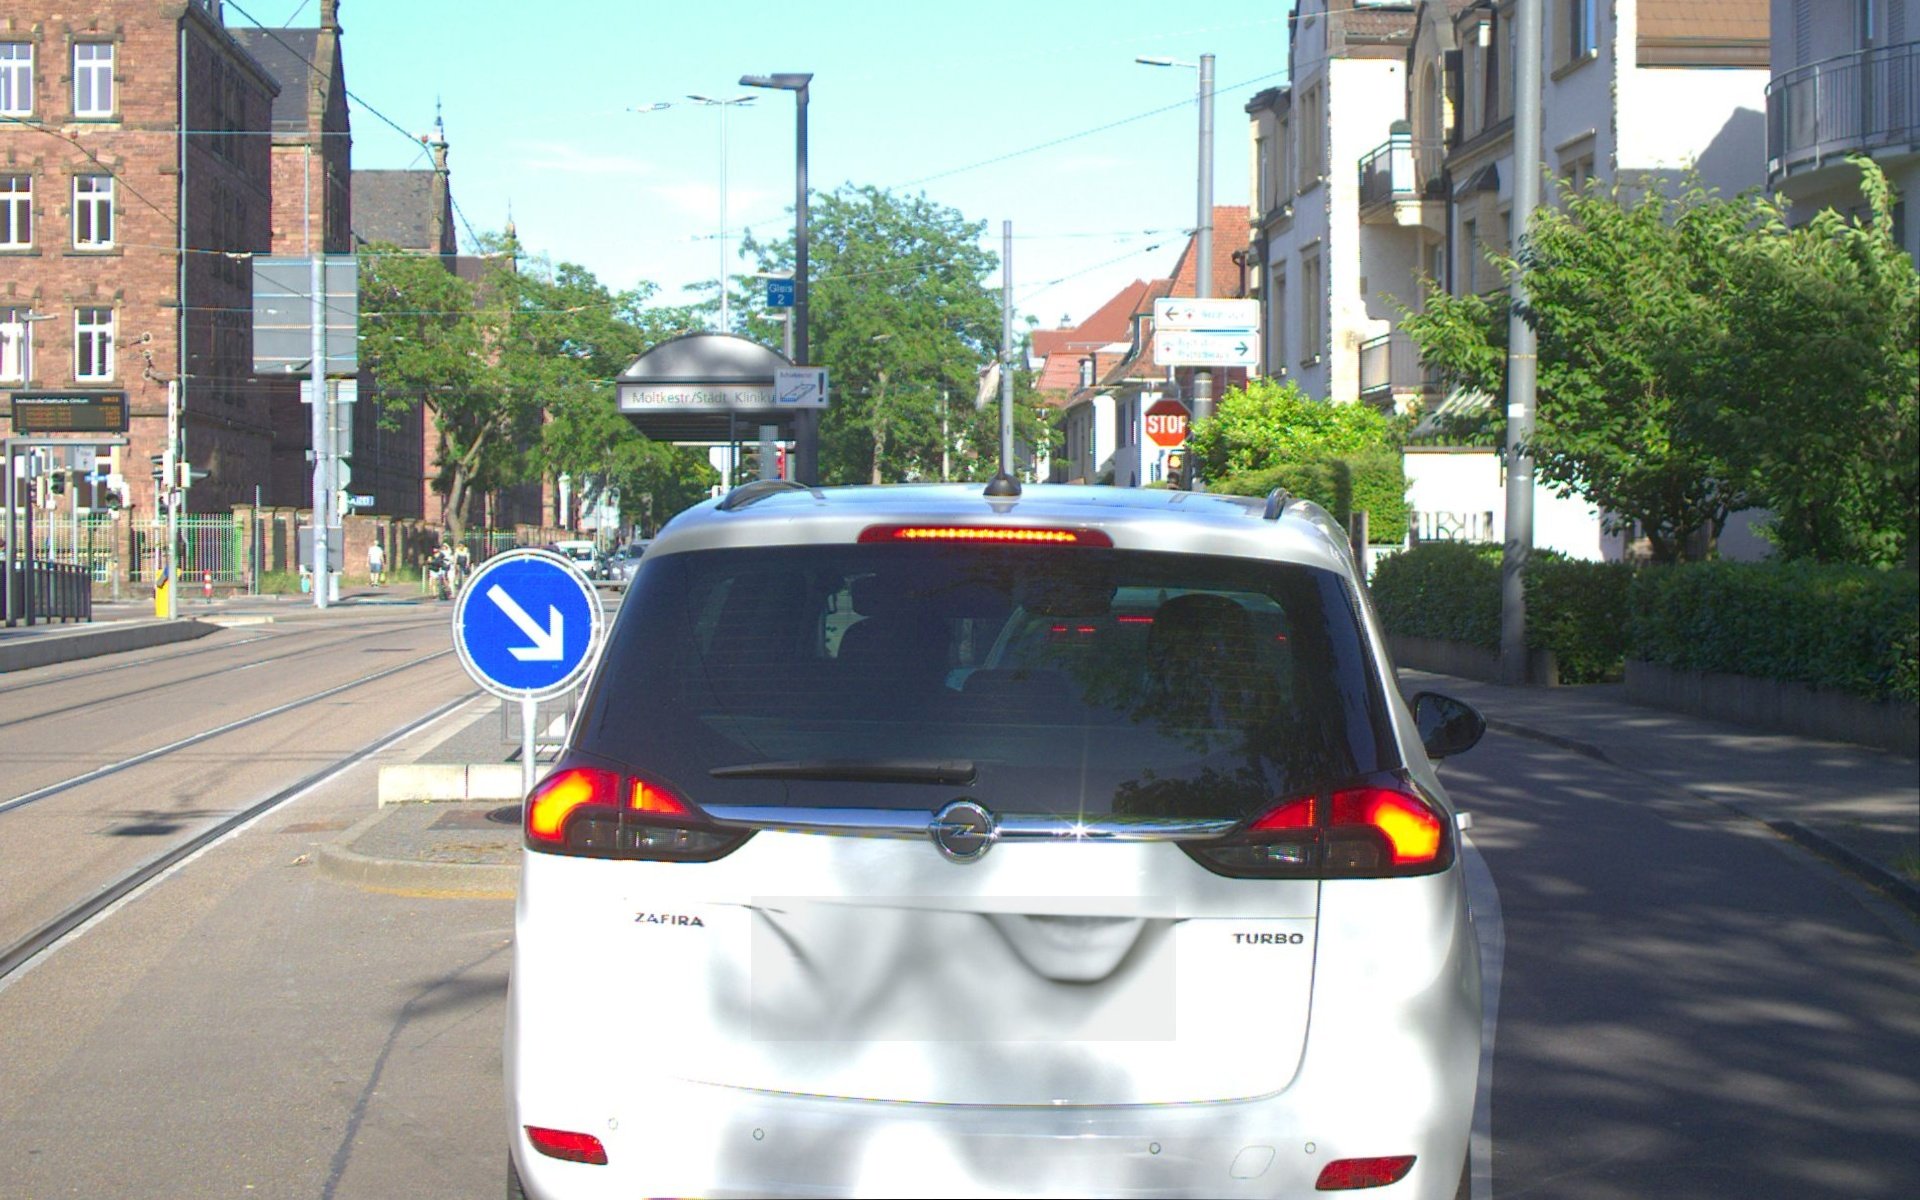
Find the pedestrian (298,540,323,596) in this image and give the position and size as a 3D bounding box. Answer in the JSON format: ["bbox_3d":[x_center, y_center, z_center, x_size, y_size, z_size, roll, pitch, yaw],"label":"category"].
[{"bbox_3d":[-19.829,-0.982,104.953,0.734,1.708,0.706,1,0,-9],"label":"pedestrian"}]

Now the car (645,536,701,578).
[{"bbox_3d":[-11.204,-1.676,134.347,1.993,1.623,4.001,0,1,-2],"label":"car"}]

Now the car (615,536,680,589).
[{"bbox_3d":[-9.740,-1.186,107.309,1.993,1.623,4.001,0,1,-5],"label":"car"}]

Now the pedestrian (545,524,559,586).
[{"bbox_3d":[-13.314,-1.468,112.246,0.444,2.007,0.496,0,1,-4],"label":"pedestrian"}]

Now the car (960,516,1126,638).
[{"bbox_3d":[1.017,-0.318,44.298,1.993,1.497,4.000,0,1,-1],"label":"car"}]

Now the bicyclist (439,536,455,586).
[{"bbox_3d":[-15.896,-1.217,106.564,0.444,1.548,0.496,0,1,-4],"label":"bicyclist"}]

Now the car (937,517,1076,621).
[{"bbox_3d":[0.663,-0.487,51.758,1.993,1.497,4.000,0,1,-1],"label":"car"}]

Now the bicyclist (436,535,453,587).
[{"bbox_3d":[-15.478,-1.180,103.282,0.444,1.548,0.743,0,1,-4],"label":"bicyclist"}]

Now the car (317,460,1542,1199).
[{"bbox_3d":[0.134,0.582,7.601,1.994,1.639,3.992,1,1,6],"label":"car"}]

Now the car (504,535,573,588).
[{"bbox_3d":[-13.120,-1.221,107.086,1.993,1.623,4.001,0,1,-5],"label":"car"}]

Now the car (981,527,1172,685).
[{"bbox_3d":[1.173,0.025,36.178,1.830,1.574,4.010,0,1,-1],"label":"car"}]

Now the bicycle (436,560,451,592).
[{"bbox_3d":[-15.486,-0.711,103.081,0.344,0.946,1.160,1,0,-4],"label":"bicycle"}]

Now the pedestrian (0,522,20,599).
[{"bbox_3d":[-21.065,-0.865,74.908,0.895,1.678,1.029,1,0,-1],"label":"pedestrian"}]

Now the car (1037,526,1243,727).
[{"bbox_3d":[1.491,0.179,29.254,1.637,1.595,3.854,0,1,2],"label":"car"}]

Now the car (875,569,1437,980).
[{"bbox_3d":[0.742,0.589,13.981,1.953,1.392,4.000,0,1,2],"label":"car"}]

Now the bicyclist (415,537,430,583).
[{"bbox_3d":[-17.985,-1.332,115.094,0.444,1.548,0.496,0,1,-4],"label":"bicyclist"}]

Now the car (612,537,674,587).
[{"bbox_3d":[-10.537,-1.268,114.415,1.993,1.623,4.001,0,1,-5],"label":"car"}]

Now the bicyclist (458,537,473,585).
[{"bbox_3d":[-15.692,-1.240,109.148,0.444,1.548,0.496,0,1,-4],"label":"bicyclist"}]

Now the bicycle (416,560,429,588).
[{"bbox_3d":[-17.990,-0.866,115.138,0.344,0.946,0.997,1,0,-4],"label":"bicycle"}]

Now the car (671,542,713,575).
[{"bbox_3d":[-13.093,-2.031,167.815,1.993,1.623,3.989,0,1,-5],"label":"car"}]

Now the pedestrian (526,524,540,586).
[{"bbox_3d":[-13.911,-1.473,111.964,0.444,2.007,0.496,0,1,-4],"label":"pedestrian"}]

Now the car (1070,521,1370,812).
[{"bbox_3d":[1.490,0.331,20.826,1.637,1.595,3.854,0,1,2],"label":"car"}]

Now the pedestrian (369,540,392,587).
[{"bbox_3d":[-21.187,-1.346,125.704,0.734,1.708,0.754,1,0,-6],"label":"pedestrian"}]

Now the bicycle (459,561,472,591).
[{"bbox_3d":[-15.701,-0.775,109.163,0.344,0.946,0.997,1,0,-4],"label":"bicycle"}]
